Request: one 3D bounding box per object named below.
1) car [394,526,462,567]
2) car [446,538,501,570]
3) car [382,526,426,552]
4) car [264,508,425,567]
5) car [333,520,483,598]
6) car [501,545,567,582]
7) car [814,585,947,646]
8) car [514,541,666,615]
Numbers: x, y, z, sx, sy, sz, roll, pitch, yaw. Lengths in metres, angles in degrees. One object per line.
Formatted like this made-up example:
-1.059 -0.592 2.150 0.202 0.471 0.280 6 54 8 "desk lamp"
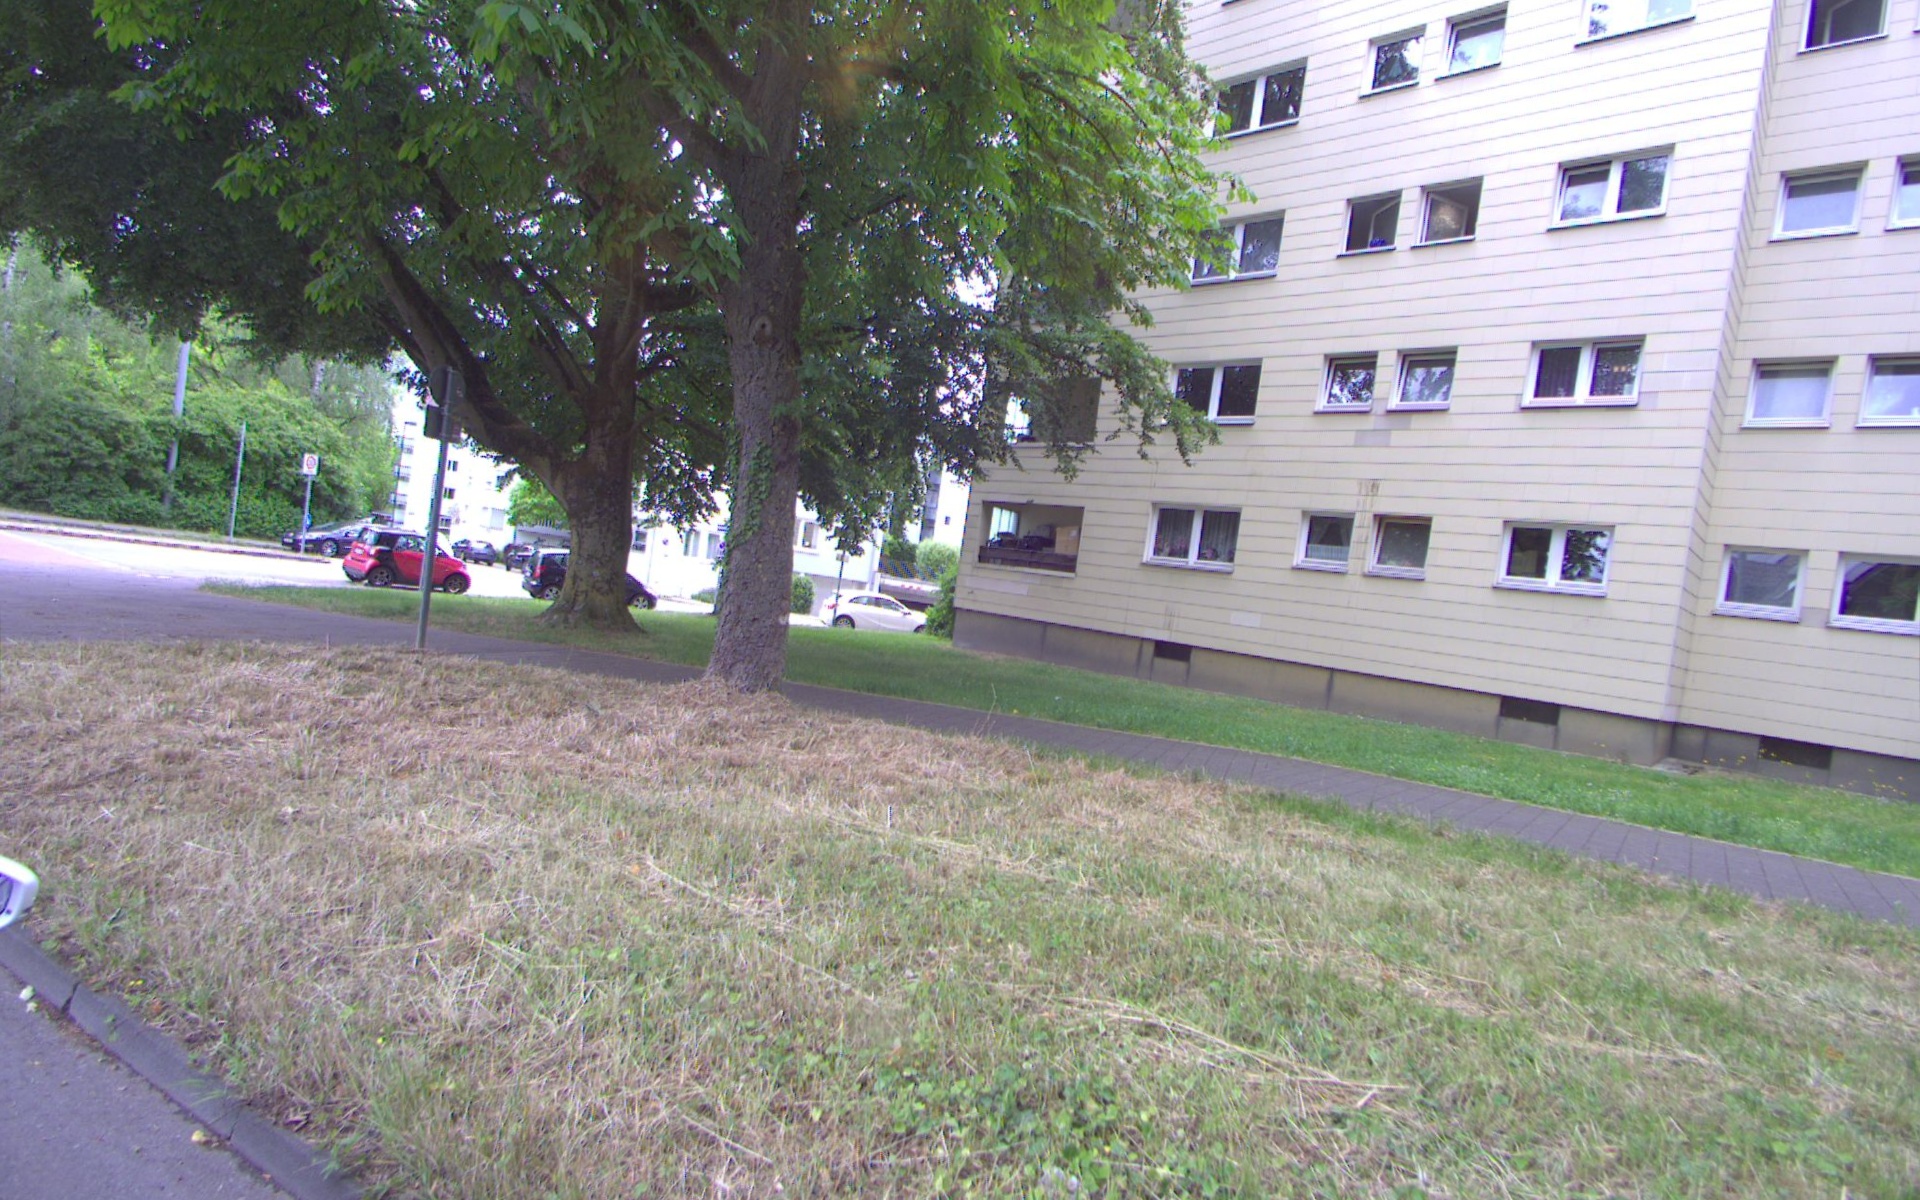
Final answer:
-24.807 -2.497 46.853 1.797 1.505 3.624 8 -1 -44 "car"
-29.986 -2.863 61.964 1.922 1.563 4.016 8 -1 -42 "car"
-41.330 -4.558 74.756 1.922 1.563 4.016 8 -1 -42 "car"
-23.136 -2.330 38.059 2.002 1.456 4.798 8 0 25 "car"
-14.572 -1.063 26.636 1.669 1.524 2.913 9 0 36 "car"
-23.011 -2.006 54.265 1.922 1.563 4.016 8 -1 -42 "car"
-2.657 0.508 33.316 4.008 1.452 1.789 7 1 -15 "car"
-10.975 -0.651 29.869 3.791 1.610 1.802 9 -1 -34 "car"
